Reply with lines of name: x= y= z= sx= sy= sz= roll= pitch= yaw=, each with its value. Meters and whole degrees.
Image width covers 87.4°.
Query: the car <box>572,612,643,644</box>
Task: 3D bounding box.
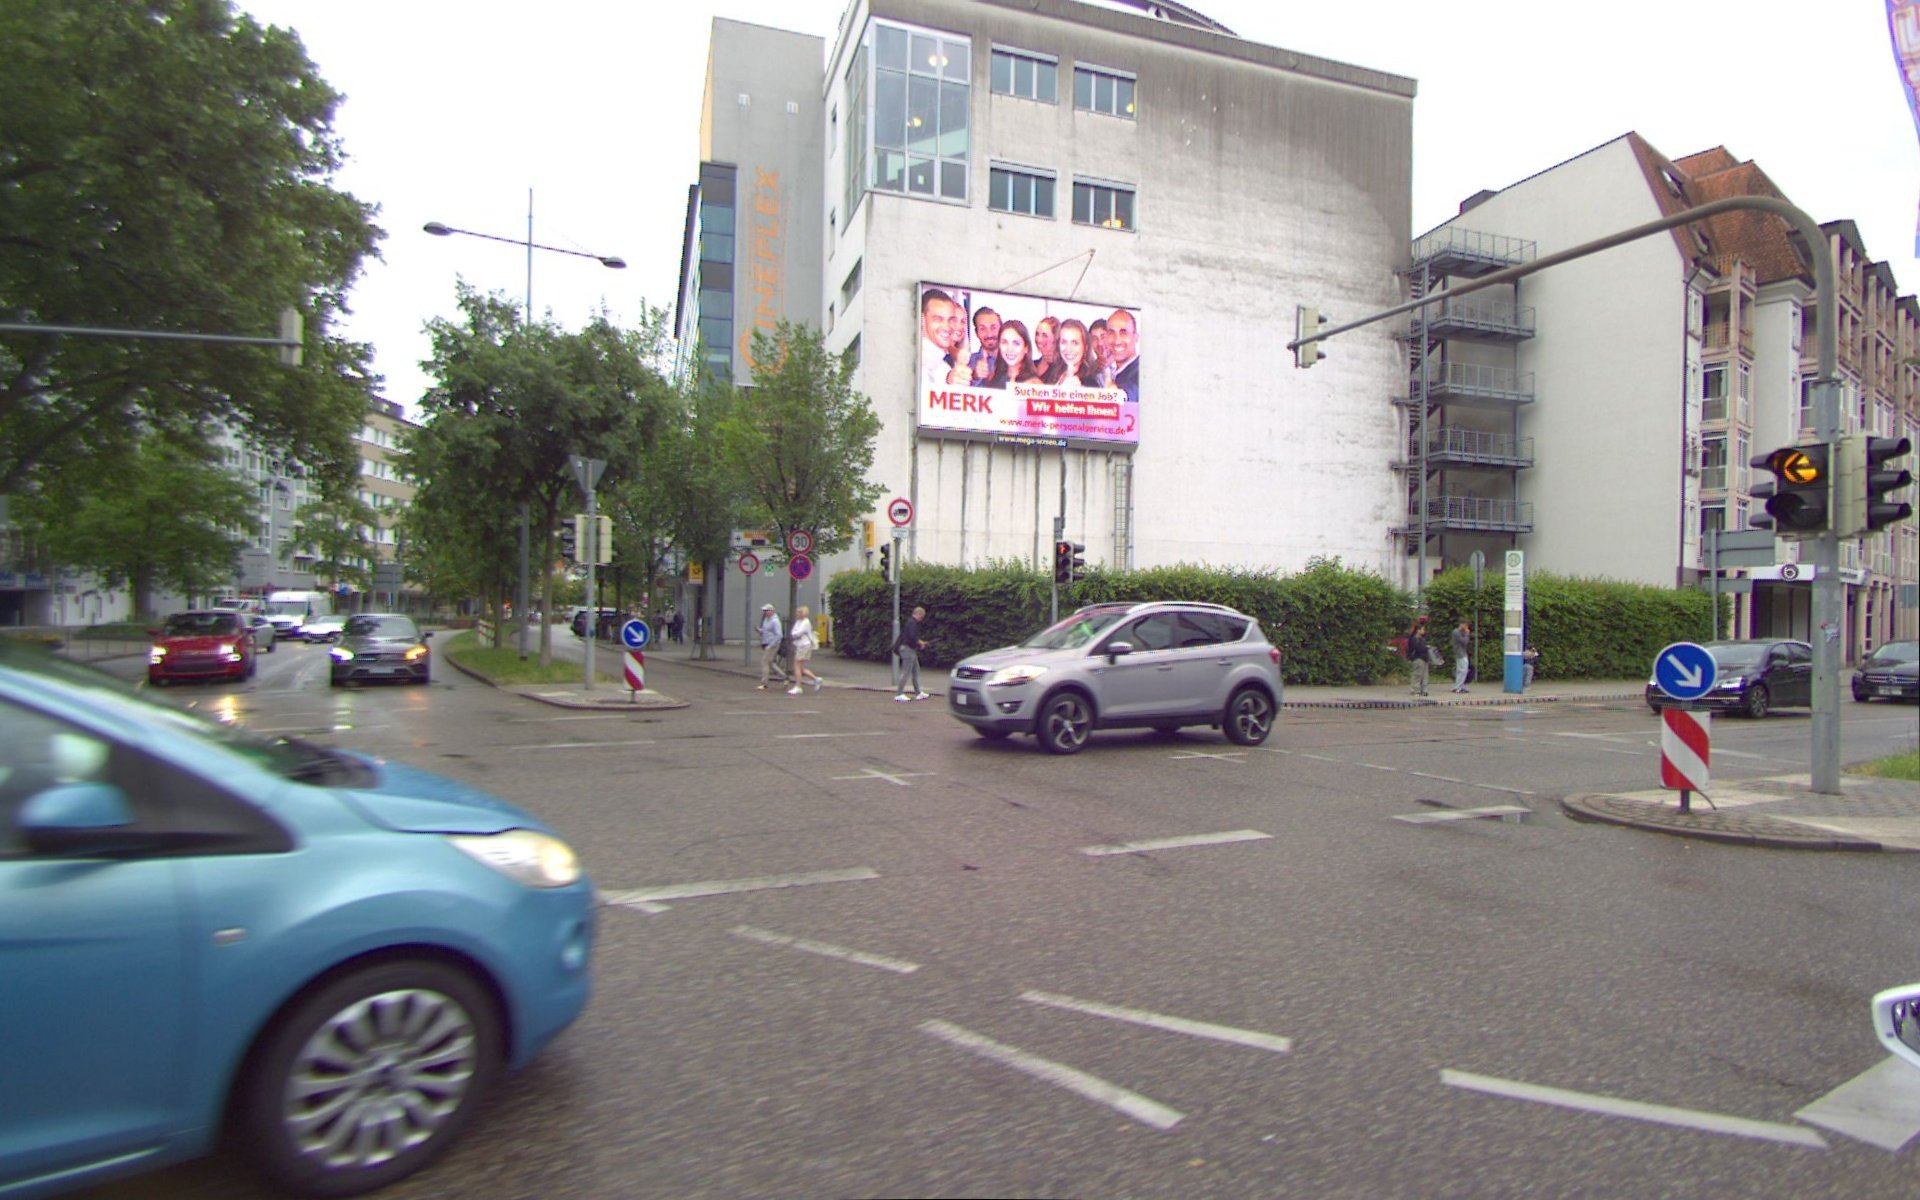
car: x=-21.136 y=1.694 z=60.422 sx=1.908 sy=1.684 sz=3.874 roll=5 pitch=0 yaw=20

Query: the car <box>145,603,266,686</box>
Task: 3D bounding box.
car: x=-16.162 y=0.887 z=21.696 sx=1.682 sy=1.607 sz=3.966 roll=1 pitch=-1 yaw=-31

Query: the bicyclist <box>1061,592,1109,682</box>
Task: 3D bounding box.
bicyclist: x=2.743 y=0.805 z=22.102 sx=0.935 sy=1.915 sz=0.794 roll=1 pitch=0 yaw=1

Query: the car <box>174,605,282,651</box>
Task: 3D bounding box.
car: x=-25.418 y=0.941 z=35.040 sx=1.834 sy=1.483 sz=3.984 roll=1 pitch=-1 yaw=-18

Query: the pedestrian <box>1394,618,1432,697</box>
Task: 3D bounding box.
pedestrian: x=10.407 y=1.316 z=23.070 sx=0.623 sy=1.788 sz=0.524 roll=1 pitch=-1 yaw=-30

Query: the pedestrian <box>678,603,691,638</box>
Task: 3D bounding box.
pedestrian: x=-12.995 y=0.975 z=47.376 sx=0.521 sy=1.621 sz=0.556 roll=2 pitch=-1 yaw=-20

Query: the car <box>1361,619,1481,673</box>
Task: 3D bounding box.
car: x=13.923 y=1.381 z=30.294 sx=3.560 sy=1.530 sz=1.586 roll=2 pitch=-1 yaw=-32

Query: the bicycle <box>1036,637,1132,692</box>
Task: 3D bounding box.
bicycle: x=2.708 y=1.409 z=22.031 sx=2.017 sy=1.125 sz=0.652 roll=1 pitch=0 yaw=2

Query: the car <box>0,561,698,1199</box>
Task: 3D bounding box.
car: x=-2.712 y=0.658 z=2.415 sx=3.662 sy=1.494 sz=1.680 roll=2 pitch=-1 yaw=-42

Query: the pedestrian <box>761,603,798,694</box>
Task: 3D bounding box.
pedestrian: x=-3.641 y=0.968 z=20.232 sx=0.585 sy=1.788 sz=0.525 roll=1 pitch=-1 yaw=-28

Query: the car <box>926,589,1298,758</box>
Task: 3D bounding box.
car: x=1.887 y=0.818 z=12.270 sx=4.255 sy=1.759 sz=1.821 roll=1 pitch=-1 yaw=-27

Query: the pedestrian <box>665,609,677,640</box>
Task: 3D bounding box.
pedestrian: x=-15.316 y=1.311 z=53.253 sx=0.521 sy=1.621 sz=0.695 roll=2 pitch=-1 yaw=-20

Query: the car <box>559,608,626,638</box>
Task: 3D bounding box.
car: x=-23.506 y=1.489 z=64.389 sx=1.908 sy=1.684 sz=3.874 roll=5 pitch=0 yaw=20

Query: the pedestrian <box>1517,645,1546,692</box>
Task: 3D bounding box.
pedestrian: x=14.617 y=1.742 z=25.678 sx=0.496 sy=1.166 sz=0.466 roll=1 pitch=0 yaw=-34

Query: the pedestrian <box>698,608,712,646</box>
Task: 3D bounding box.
pedestrian: x=-11.132 y=1.183 z=43.876 sx=0.521 sy=1.621 sz=0.556 roll=2 pitch=-1 yaw=-20

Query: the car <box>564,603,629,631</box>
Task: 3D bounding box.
car: x=-24.688 y=1.188 z=68.351 sx=1.909 sy=1.684 sz=3.871 roll=5 pitch=0 yaw=24

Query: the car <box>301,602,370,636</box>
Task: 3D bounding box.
car: x=-30.815 y=0.950 z=49.661 sx=1.927 sy=1.576 sz=3.984 roll=2 pitch=-1 yaw=-18

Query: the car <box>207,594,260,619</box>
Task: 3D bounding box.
car: x=-58.153 y=0.523 z=80.487 sx=1.883 sy=1.773 sz=3.803 roll=5 pitch=0 yaw=-10

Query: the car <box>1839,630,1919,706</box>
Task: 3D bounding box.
car: x=23.887 y=1.670 z=25.166 sx=4.215 sy=1.759 sz=1.816 roll=2 pitch=-3 yaw=-34

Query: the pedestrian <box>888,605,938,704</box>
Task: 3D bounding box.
pedestrian: x=-0.876 y=1.003 z=18.734 sx=0.586 sy=1.787 sz=0.643 roll=5 pitch=-2 yaw=-30

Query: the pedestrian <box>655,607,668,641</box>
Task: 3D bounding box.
pedestrian: x=-14.385 y=1.175 z=48.381 sx=0.521 sy=1.621 sz=0.556 roll=2 pitch=-1 yaw=-20

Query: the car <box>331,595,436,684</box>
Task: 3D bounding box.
car: x=-12.172 y=0.794 z=21.394 sx=1.615 sy=1.718 sz=3.579 roll=1 pitch=-1 yaw=-25

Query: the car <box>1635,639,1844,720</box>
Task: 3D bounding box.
car: x=15.257 y=1.529 z=19.631 sx=4.046 sy=1.439 sz=1.751 roll=3 pitch=-3 yaw=-28

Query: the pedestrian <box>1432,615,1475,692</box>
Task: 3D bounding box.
pedestrian: x=11.800 y=1.276 z=24.028 sx=0.585 sy=1.787 sz=0.639 roll=5 pitch=-2 yaw=-29

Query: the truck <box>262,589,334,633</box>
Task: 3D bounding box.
truck: x=-35.964 y=0.596 z=54.746 sx=1.971 sy=2.183 sz=6.670 roll=1 pitch=-1 yaw=-22

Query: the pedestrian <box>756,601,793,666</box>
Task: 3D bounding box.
pedestrian: x=-5.363 y=0.976 z=29.101 sx=0.778 sy=1.804 sz=0.653 roll=3 pitch=-2 yaw=8

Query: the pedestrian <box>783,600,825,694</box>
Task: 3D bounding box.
pedestrian: x=-3.067 y=0.916 z=19.699 sx=0.585 sy=1.788 sz=0.524 roll=3 pitch=2 yaw=-27
